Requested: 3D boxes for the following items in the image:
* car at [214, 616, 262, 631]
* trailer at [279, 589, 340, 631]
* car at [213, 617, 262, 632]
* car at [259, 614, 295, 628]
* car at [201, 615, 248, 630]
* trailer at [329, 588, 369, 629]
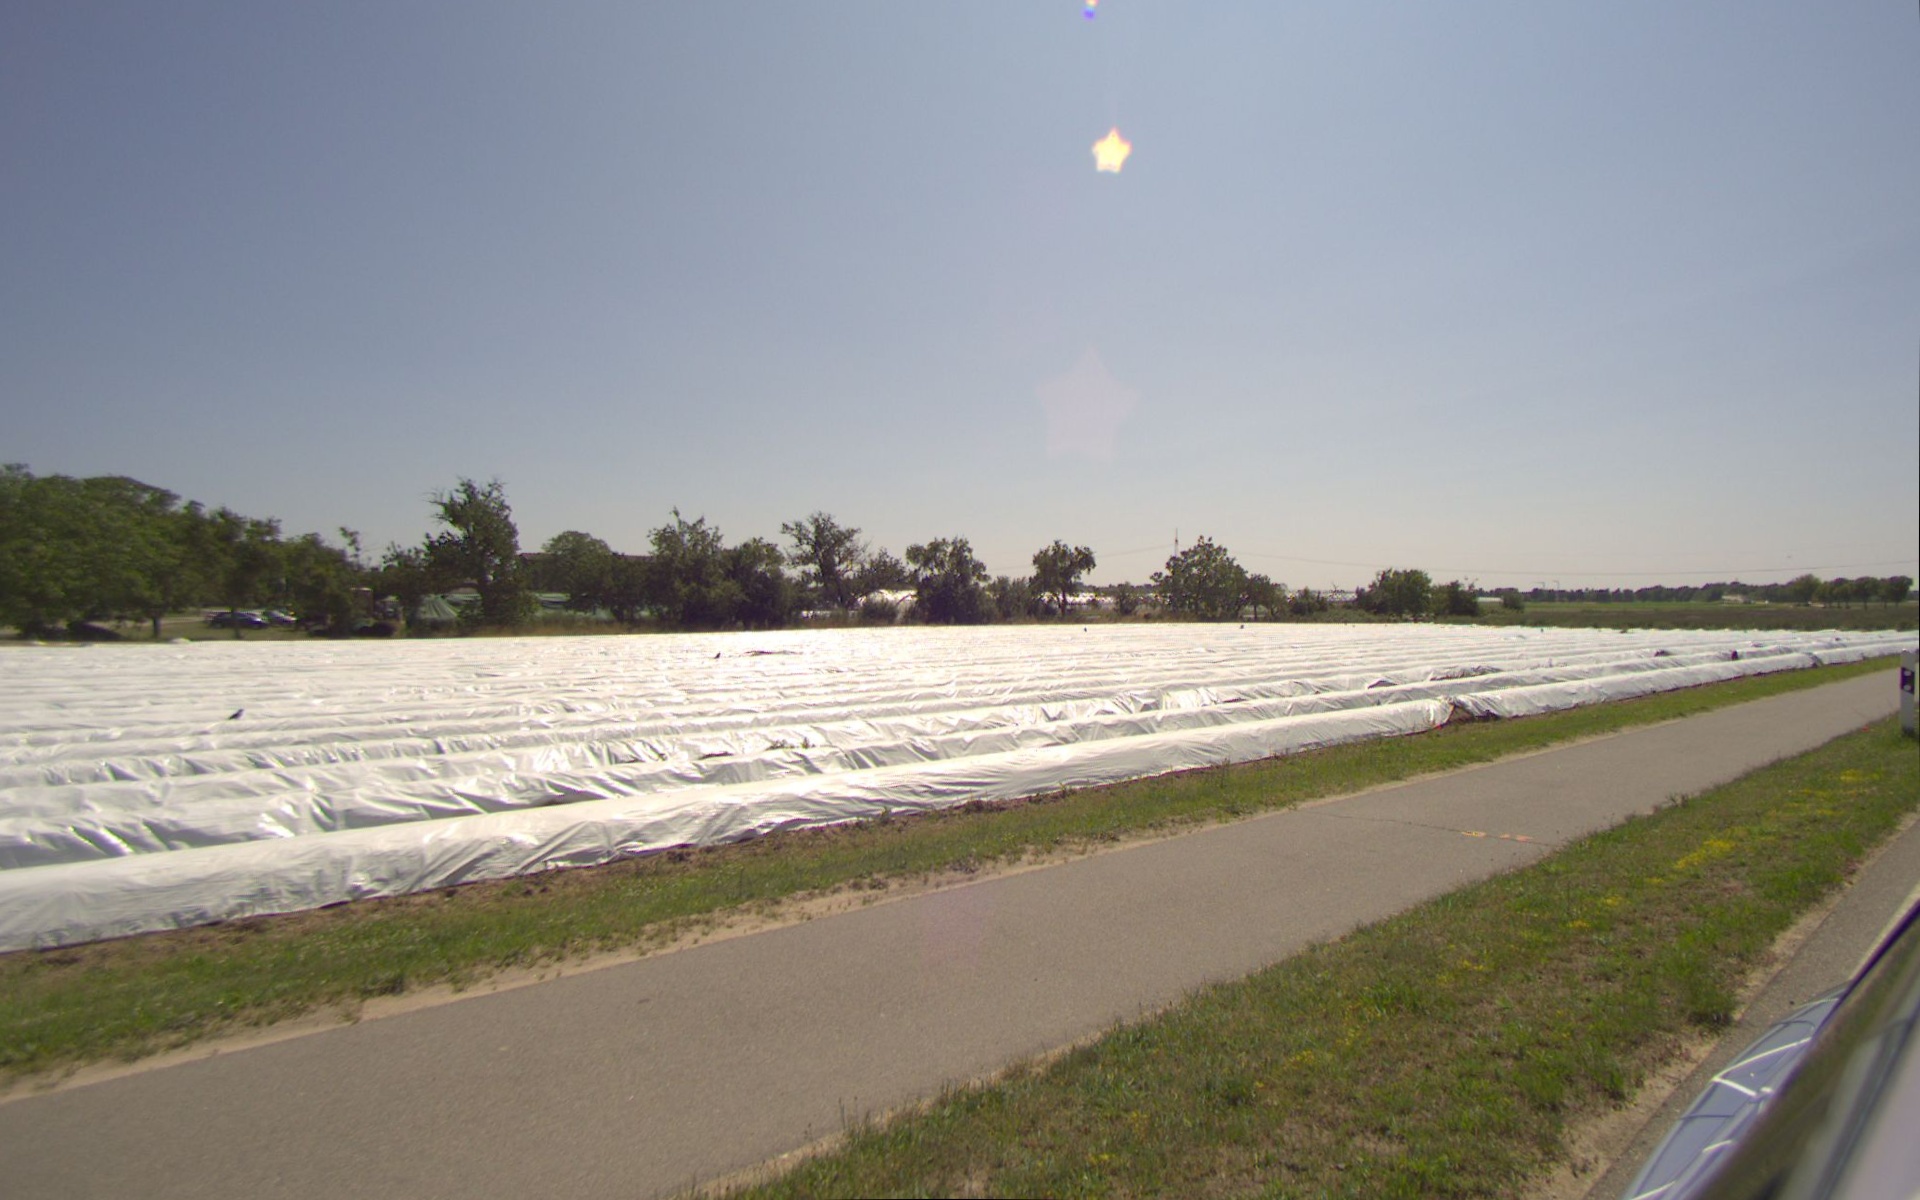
[{"bbox_3d":[-61.208,1.952,85.833,3.216,1.213,1.296,0,-1,-34],"label":"car"},{"bbox_3d":[-54.945,0.872,85.650,3.192,3.335,7.453,-1,-1,-24],"label":"trailer"},{"bbox_3d":[-59.282,1.979,83.049,3.216,1.213,1.296,0,-1,-34],"label":"car"},{"bbox_3d":[-62.160,1.898,92.157,2.731,1.213,1.296,0,-1,-34],"label":"car"},{"bbox_3d":[-63.638,1.938,87.628,3.216,1.213,1.296,0,-1,-34],"label":"car"},{"bbox_3d":[-66.923,0.938,110.774,3.099,4.275,7.436,-1,-1,-37],"label":"trailer"}]
